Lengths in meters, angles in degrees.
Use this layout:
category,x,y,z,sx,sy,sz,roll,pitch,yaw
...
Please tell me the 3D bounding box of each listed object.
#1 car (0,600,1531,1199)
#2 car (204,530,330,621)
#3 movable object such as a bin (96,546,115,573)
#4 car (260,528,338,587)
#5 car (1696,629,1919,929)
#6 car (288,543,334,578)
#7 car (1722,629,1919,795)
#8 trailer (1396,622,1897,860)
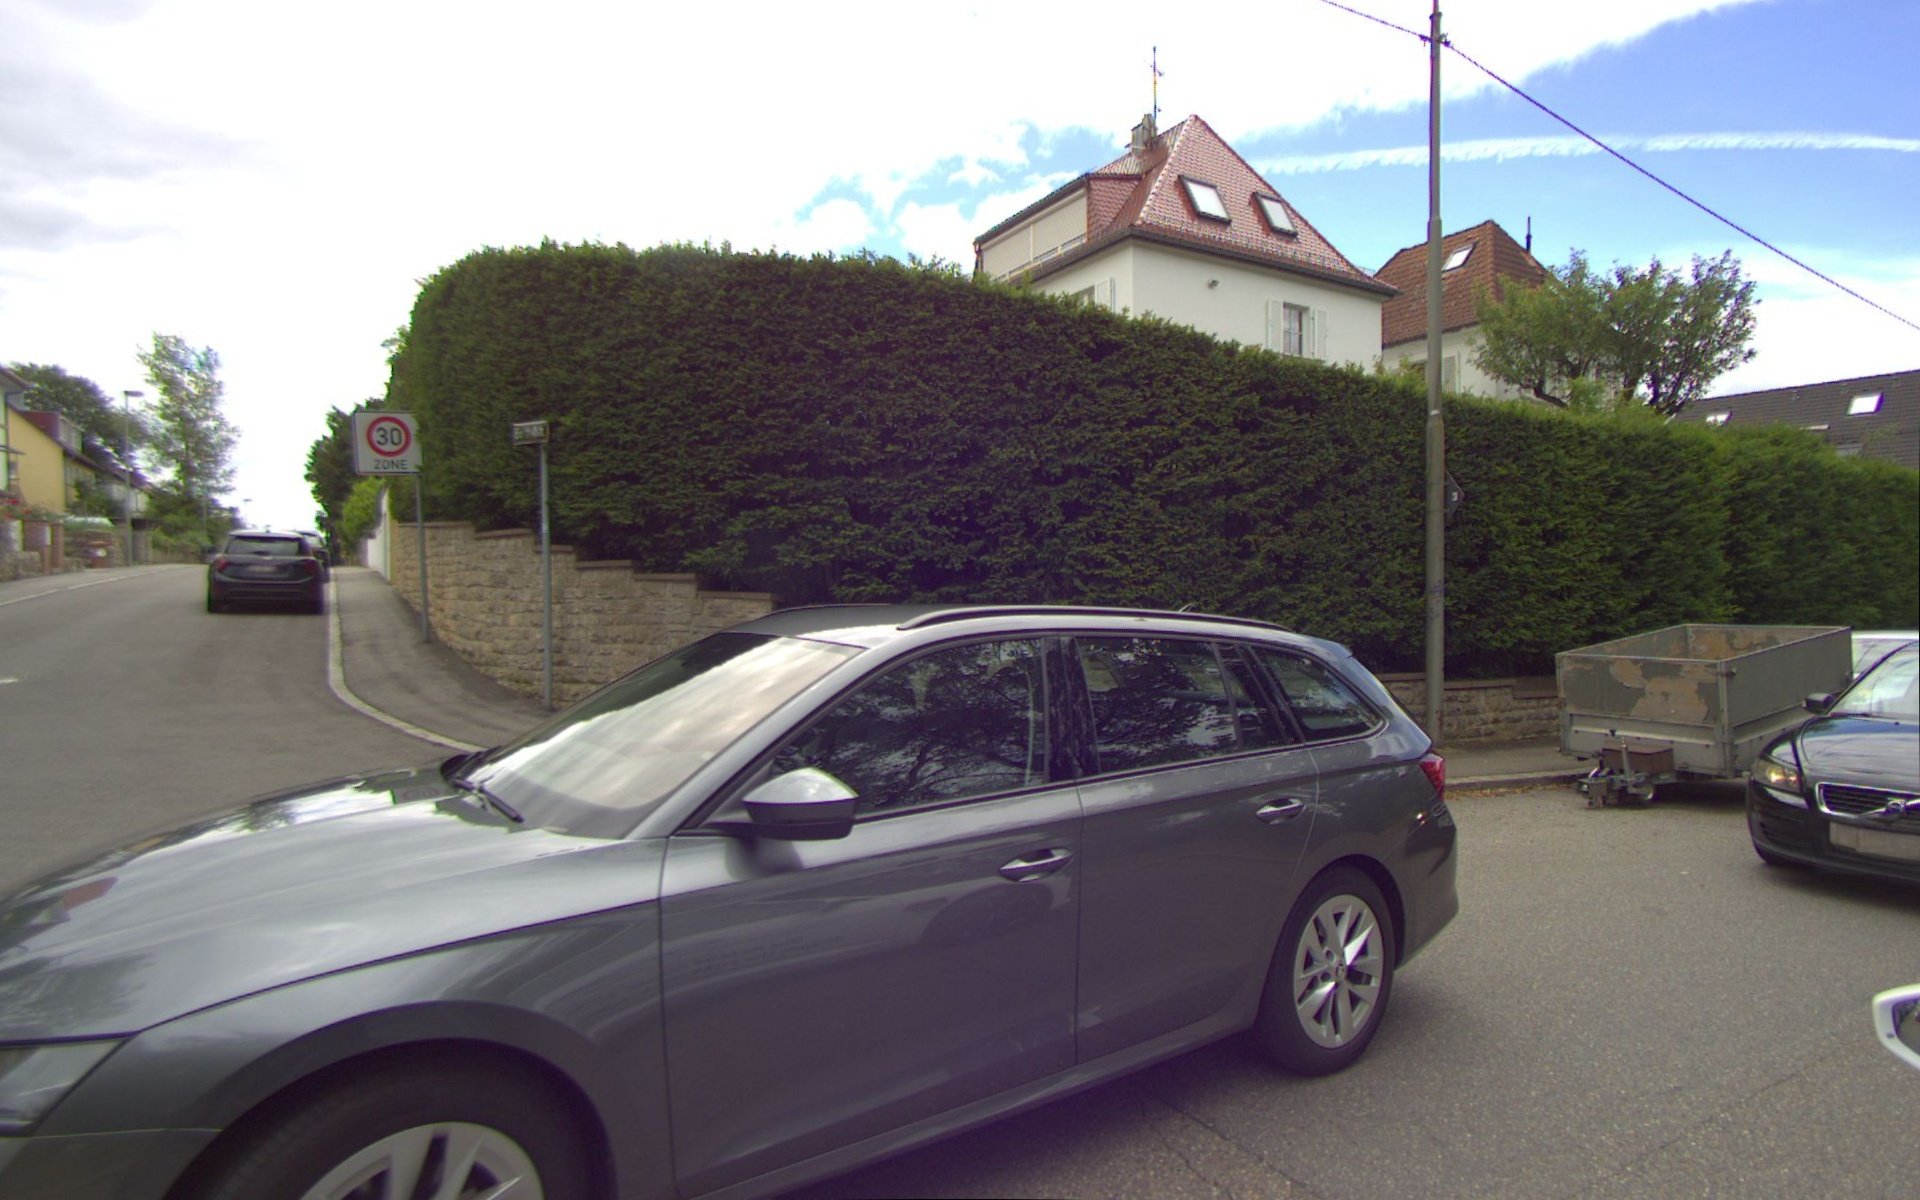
category,x,y,z,sx,sy,sz,roll,pitch,yaw
car,-0.162,0.773,3.239,4.428,1.465,1.752,1,-1,-35
car,-12.977,-0.522,19.004,1.721,1.493,3.964,1,3,-32
movable object such as a bin,-30.060,-1.425,35.343,0.450,0.947,0.414,0,0,-35
car,-18.864,-1.256,28.804,1.721,1.493,3.964,1,3,-32
car,6.603,0.932,6.172,4.421,1.465,1.755,1,-1,-30
car,-31.294,-1.910,48.501,1.721,1.493,3.964,1,3,-32
car,10.335,1.088,10.958,4.423,1.519,1.754,1,-2,-32
trailer,5.803,0.960,8.355,4.421,1.516,1.755,1,-1,-31
